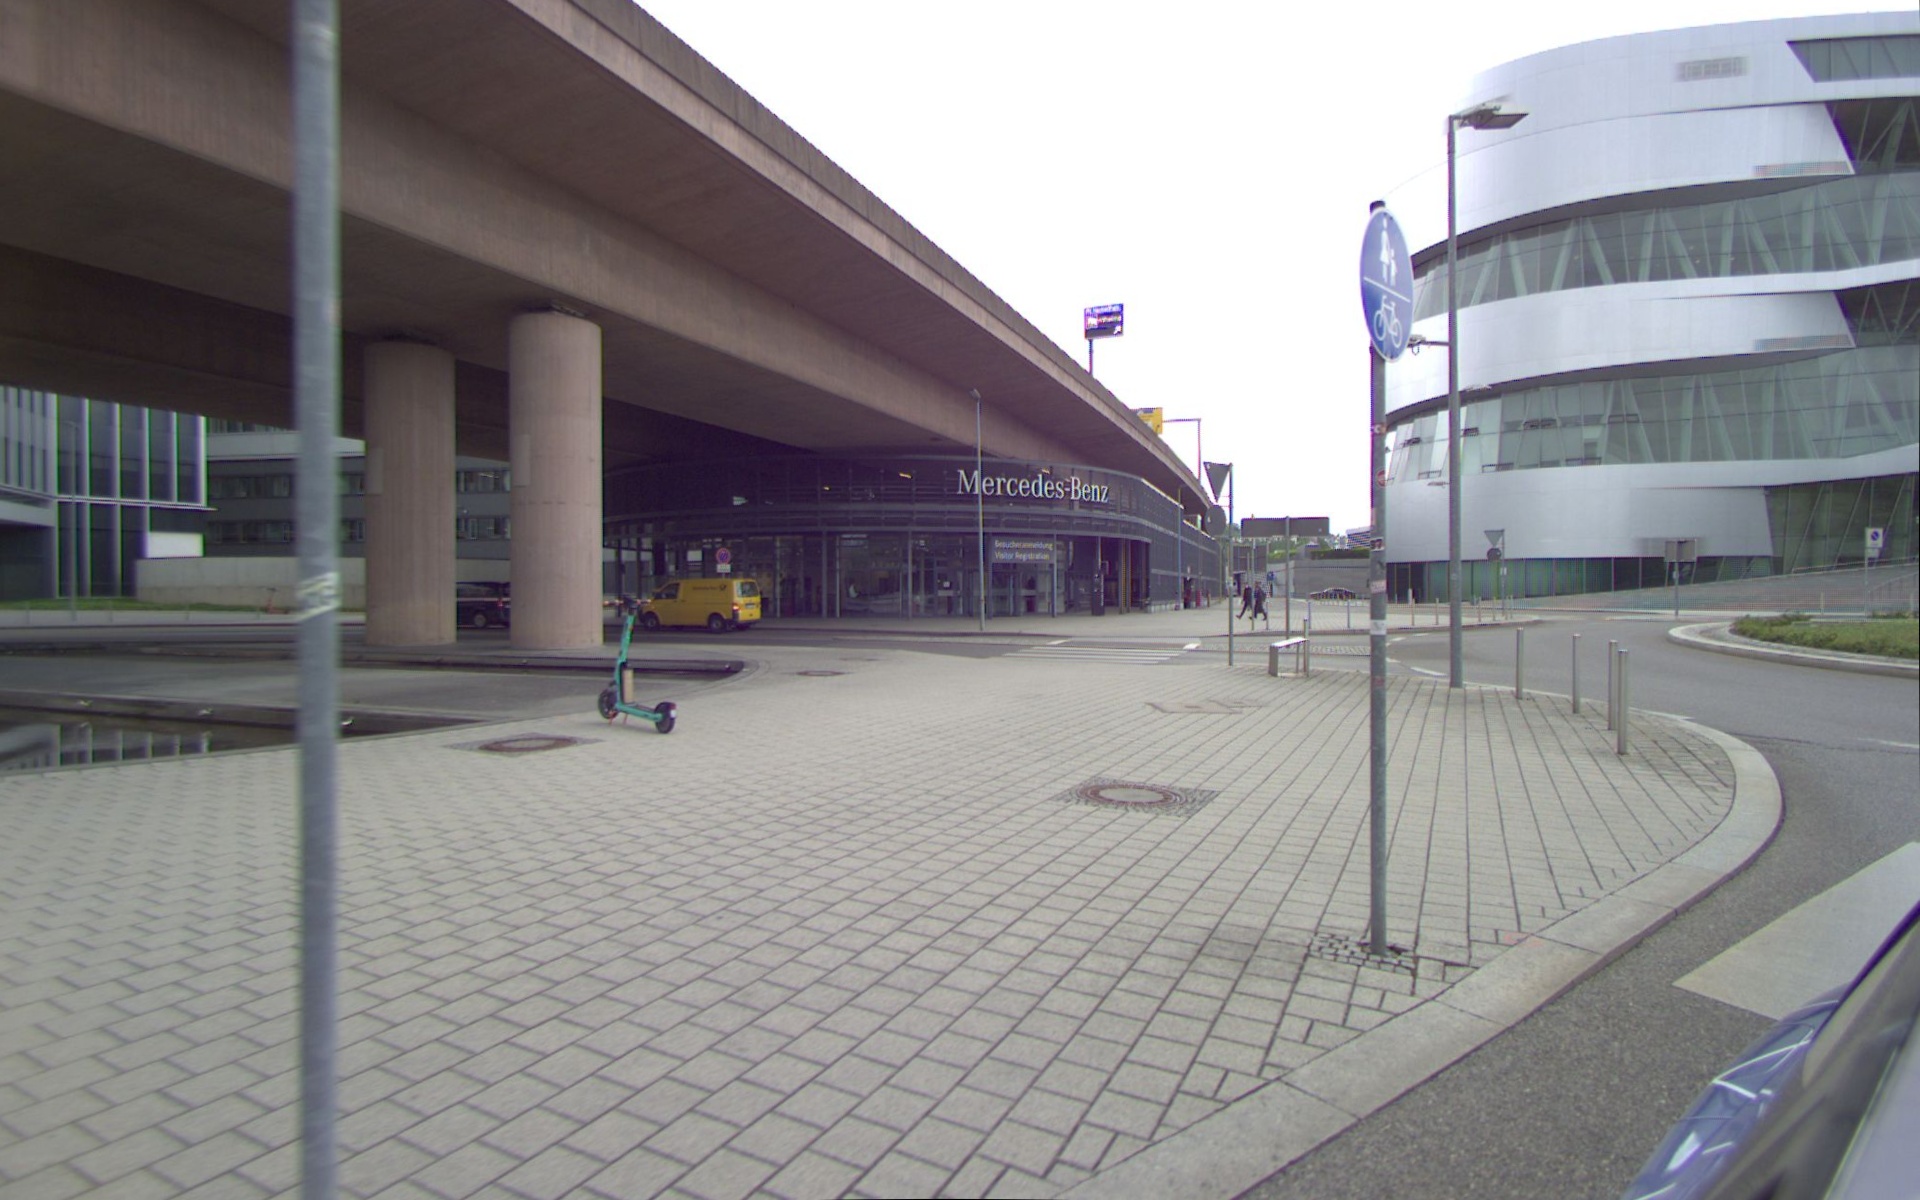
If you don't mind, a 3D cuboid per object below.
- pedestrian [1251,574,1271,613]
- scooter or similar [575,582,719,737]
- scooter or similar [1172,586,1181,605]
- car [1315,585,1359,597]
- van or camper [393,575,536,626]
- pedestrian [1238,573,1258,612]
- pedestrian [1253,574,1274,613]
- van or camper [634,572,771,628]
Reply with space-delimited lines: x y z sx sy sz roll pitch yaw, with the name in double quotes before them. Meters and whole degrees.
"pedestrian" 13.761 -0.295 46.336 0.760 1.727 0.785 0 -1 9
"scooter or similar" -2.950 0.500 9.450 1.643 1.312 0.510 2 0 43
"scooter or similar" 13.795 -0.281 64.523 0.376 1.137 1.418 0 0 20
"car" 45.158 -1.042 121.426 4.841 1.416 1.526 0 0 18
"van or camper" -19.793 0.012 40.497 4.824 1.917 2.147 0 0 11
"pedestrian" 13.488 -0.336 47.367 0.770 1.821 0.863 0 -1 9
"pedestrian" 13.620 -0.278 45.471 0.760 1.727 0.863 0 -1 9
"van or camper" -9.655 -0.009 38.006 4.450 2.025 2.346 0 0 21
